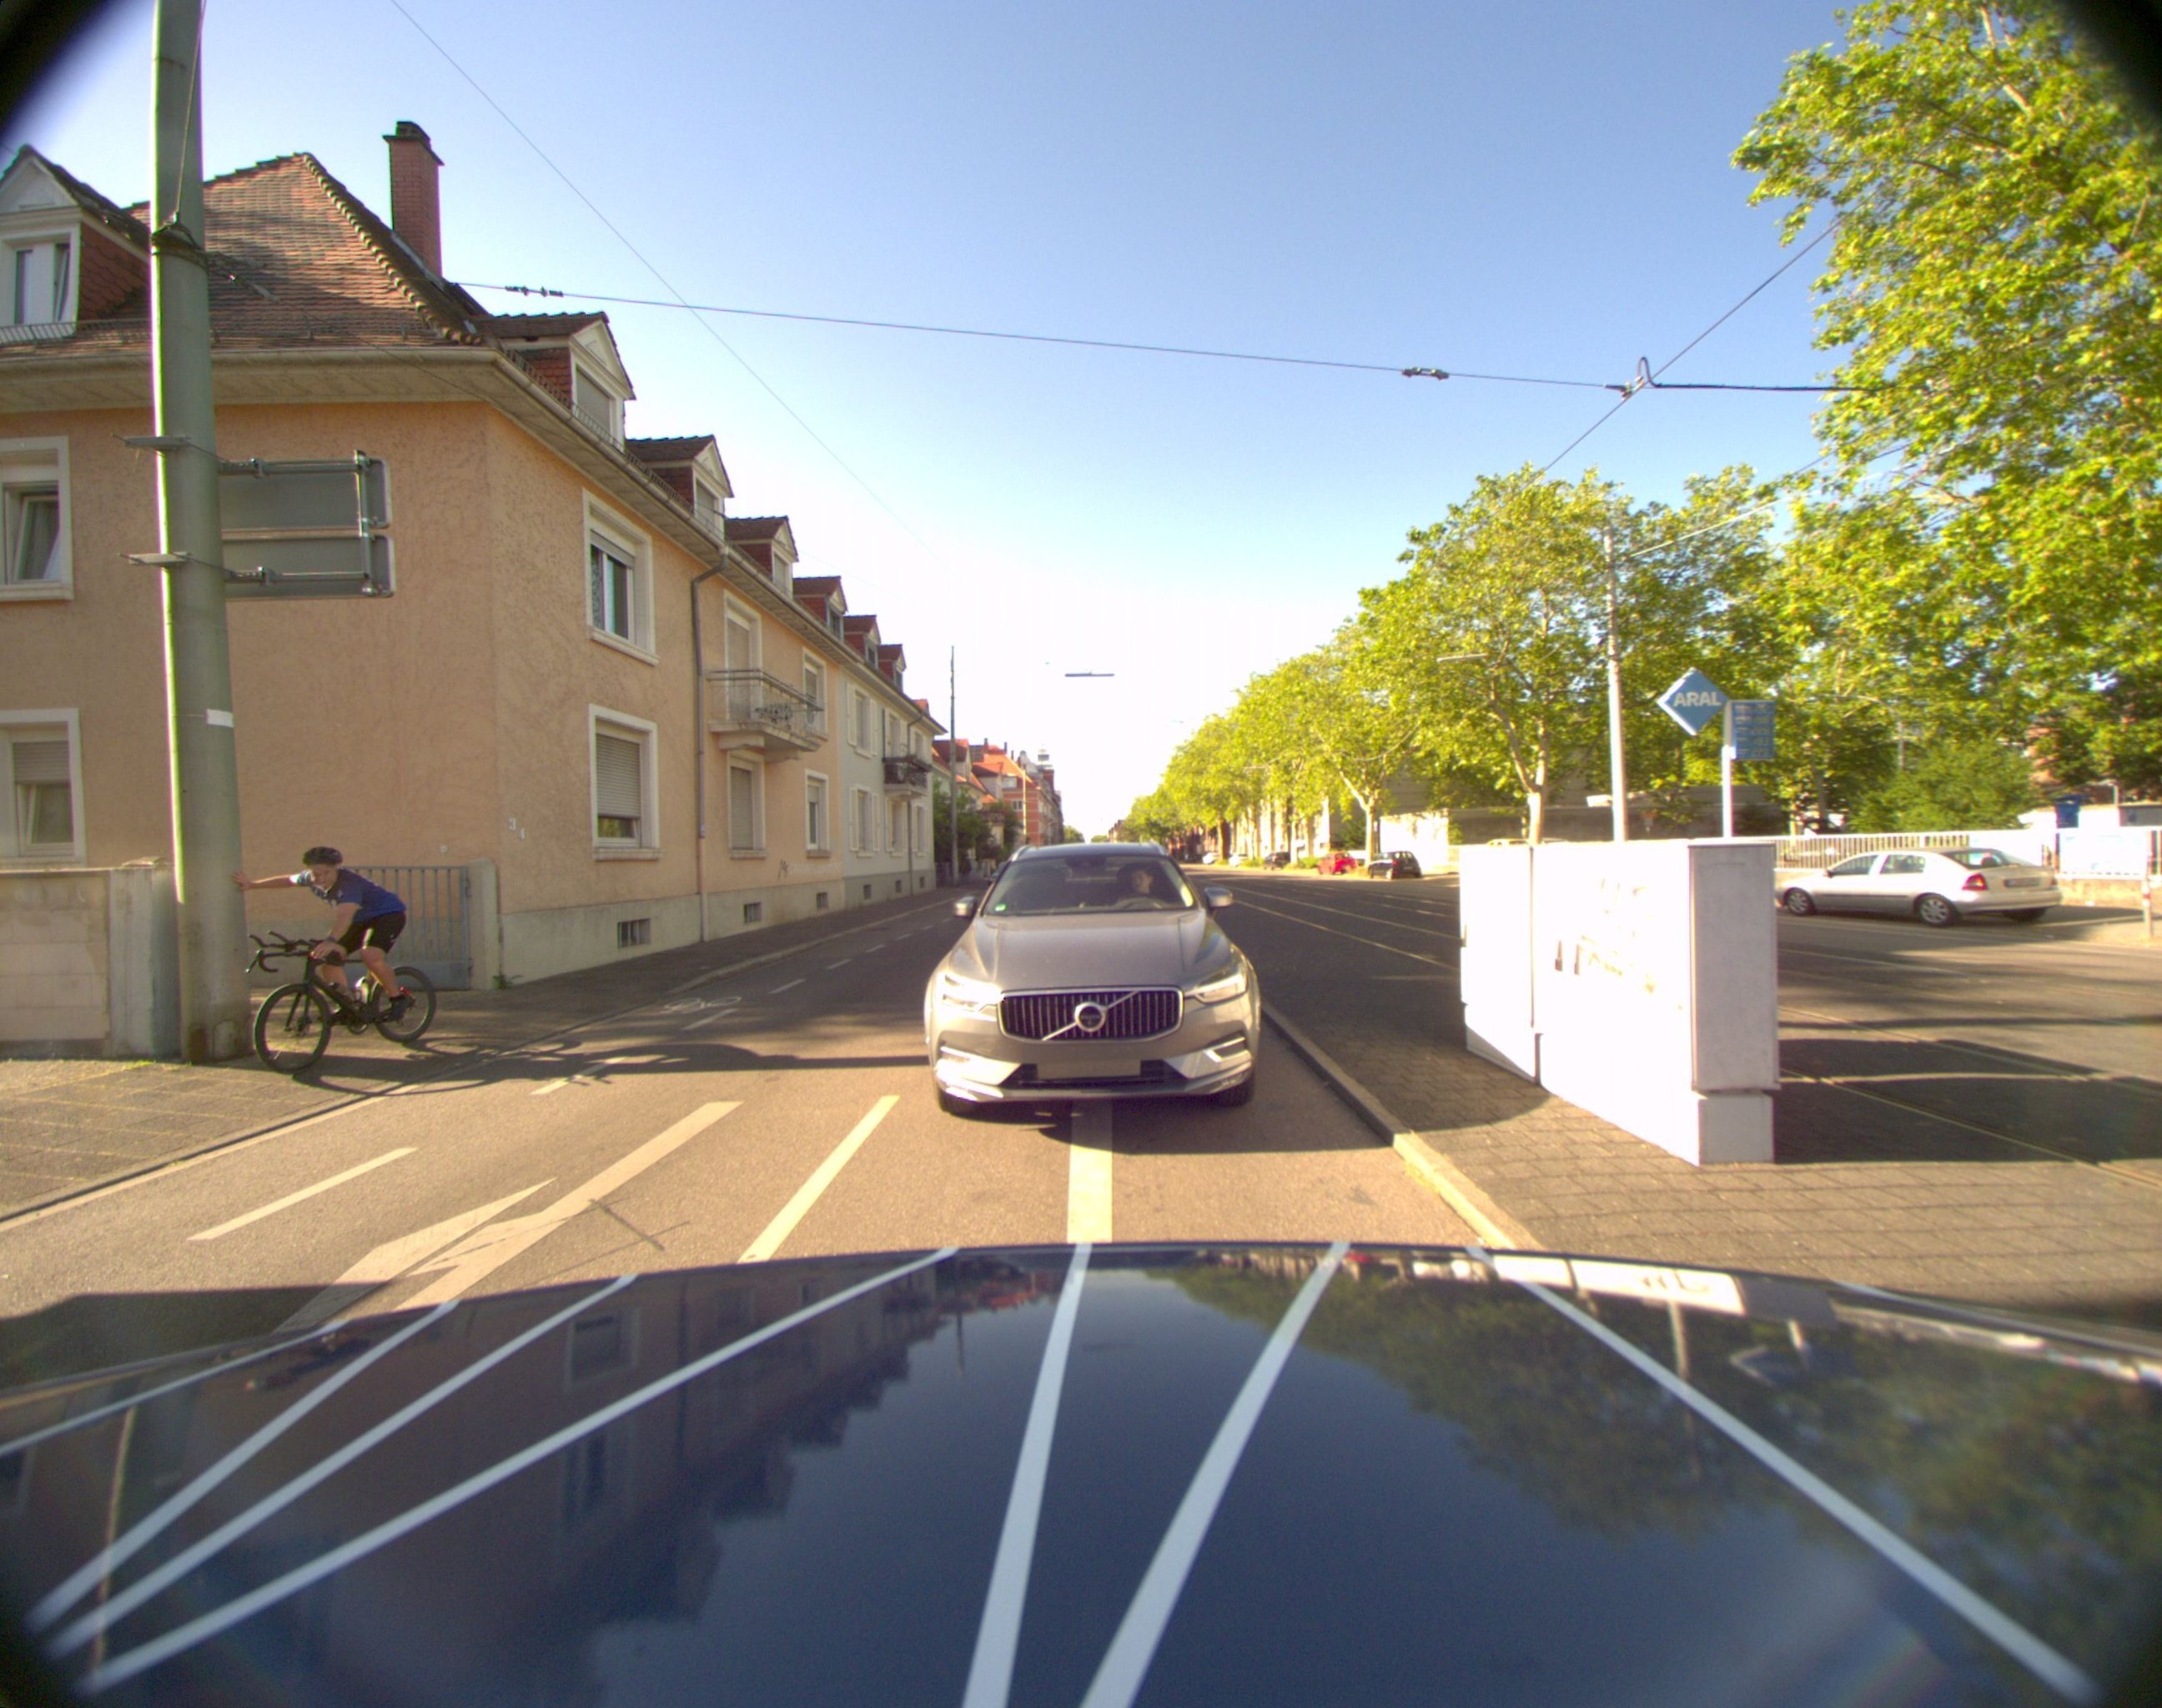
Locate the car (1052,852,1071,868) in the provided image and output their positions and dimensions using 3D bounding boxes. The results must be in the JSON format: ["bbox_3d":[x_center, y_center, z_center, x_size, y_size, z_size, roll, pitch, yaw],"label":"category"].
[{"bbox_3d":[-2.146,0.639,85.370,1.793,1.673,3.814,-3,0,2],"label":"car"}]

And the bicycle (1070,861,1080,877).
[{"bbox_3d":[-0.410,1.035,53.306,0.519,1.084,1.797,-1,-2,3],"label":"bicycle"}]

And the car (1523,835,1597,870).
[{"bbox_3d":[23.883,-0.077,38.025,1.599,1.583,3.304,-2,0,1],"label":"car"}]

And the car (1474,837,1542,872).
[{"bbox_3d":[21.549,0.018,38.473,1.599,1.606,3.304,-2,0,1],"label":"car"}]

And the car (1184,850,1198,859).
[{"bbox_3d":[18.206,0.077,125.523,1.695,1.440,3.749,-3,0,1],"label":"car"}]

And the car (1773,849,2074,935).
[{"bbox_3d":[16.228,0.644,14.981,1.695,1.395,3.813,-3,0,1],"label":"car"}]

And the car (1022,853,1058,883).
[{"bbox_3d":[-2.581,0.857,48.485,1.793,1.673,3.814,-3,0,2],"label":"car"}]

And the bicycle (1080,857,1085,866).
[{"bbox_3d":[0.191,0.999,101.524,0.685,1.098,1.806,-2,1,1],"label":"bicycle"}]

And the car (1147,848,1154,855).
[{"bbox_3d":[19.667,-0.616,214.807,1.695,1.775,3.749,-3,0,1],"label":"car"}]

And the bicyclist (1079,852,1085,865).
[{"bbox_3d":[0.174,0.612,101.412,0.685,1.611,0.855,-2,1,1],"label":"bicyclist"}]

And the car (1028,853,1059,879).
[{"bbox_3d":[-2.628,0.839,54.005,1.793,1.673,3.814,-3,0,2],"label":"car"}]

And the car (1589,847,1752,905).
[{"bbox_3d":[16.413,0.564,21.416,1.695,1.395,3.749,-3,0,1],"label":"car"}]

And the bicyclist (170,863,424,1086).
[{"bbox_3d":[-6.248,0.908,6.127,1.051,1.599,0.885,4,0,1],"label":"bicyclist"}]

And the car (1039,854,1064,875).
[{"bbox_3d":[-2.547,0.863,67.075,1.793,1.673,3.814,-3,0,2],"label":"car"}]

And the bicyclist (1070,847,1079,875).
[{"bbox_3d":[-0.433,0.489,53.262,0.519,1.922,0.946,-1,-2,3],"label":"bicyclist"}]

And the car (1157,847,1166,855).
[{"bbox_3d":[20.250,-0.721,191.413,1.695,1.775,3.749,-3,0,1],"label":"car"}]

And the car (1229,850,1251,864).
[{"bbox_3d":[17.468,0.297,83.543,1.695,1.440,3.749,-3,0,1],"label":"car"}]

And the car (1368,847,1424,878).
[{"bbox_3d":[16.888,0.431,40.895,1.599,1.498,3.304,-3,0,1],"label":"car"}]

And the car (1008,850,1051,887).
[{"bbox_3d":[-2.821,0.745,42.820,1.793,1.828,5.149,-3,0,2],"label":"car"}]

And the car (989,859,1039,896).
[{"bbox_3d":[-3.220,1.087,37.047,1.695,1.571,3.815,-3,0,5],"label":"car"}]

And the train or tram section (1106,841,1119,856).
[{"bbox_3d":[7.931,-1.333,191.641,2.717,3.643,12.653,-1,0,0],"label":"train or tram section"}]

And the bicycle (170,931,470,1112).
[{"bbox_3d":[-6.041,1.262,6.204,0.592,1.062,1.775,4,0,1],"label":"bicycle"}]

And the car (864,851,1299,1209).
[{"bbox_3d":[0.032,0.830,5.754,1.998,1.628,4.306,-2,0,1],"label":"car"}]

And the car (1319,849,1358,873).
[{"bbox_3d":[16.881,0.439,49.866,1.599,1.498,2.622,-3,0,1],"label":"car"}]

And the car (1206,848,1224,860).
[{"bbox_3d":[17.799,0.031,100.714,1.695,1.440,3.749,-3,0,1],"label":"car"}]

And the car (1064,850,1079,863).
[{"bbox_3d":[-1.287,0.369,107.103,1.793,1.673,3.814,-3,0,2],"label":"car"}]

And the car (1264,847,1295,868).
[{"bbox_3d":[17.142,0.278,65.889,1.695,1.648,3.749,-3,0,1],"label":"car"}]

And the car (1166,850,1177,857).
[{"bbox_3d":[19.277,-0.188,161.876,1.695,1.440,3.749,-3,0,1],"label":"car"}]

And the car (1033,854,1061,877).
[{"bbox_3d":[-2.716,0.889,61.030,1.793,1.673,3.814,-3,0,2],"label":"car"}]
